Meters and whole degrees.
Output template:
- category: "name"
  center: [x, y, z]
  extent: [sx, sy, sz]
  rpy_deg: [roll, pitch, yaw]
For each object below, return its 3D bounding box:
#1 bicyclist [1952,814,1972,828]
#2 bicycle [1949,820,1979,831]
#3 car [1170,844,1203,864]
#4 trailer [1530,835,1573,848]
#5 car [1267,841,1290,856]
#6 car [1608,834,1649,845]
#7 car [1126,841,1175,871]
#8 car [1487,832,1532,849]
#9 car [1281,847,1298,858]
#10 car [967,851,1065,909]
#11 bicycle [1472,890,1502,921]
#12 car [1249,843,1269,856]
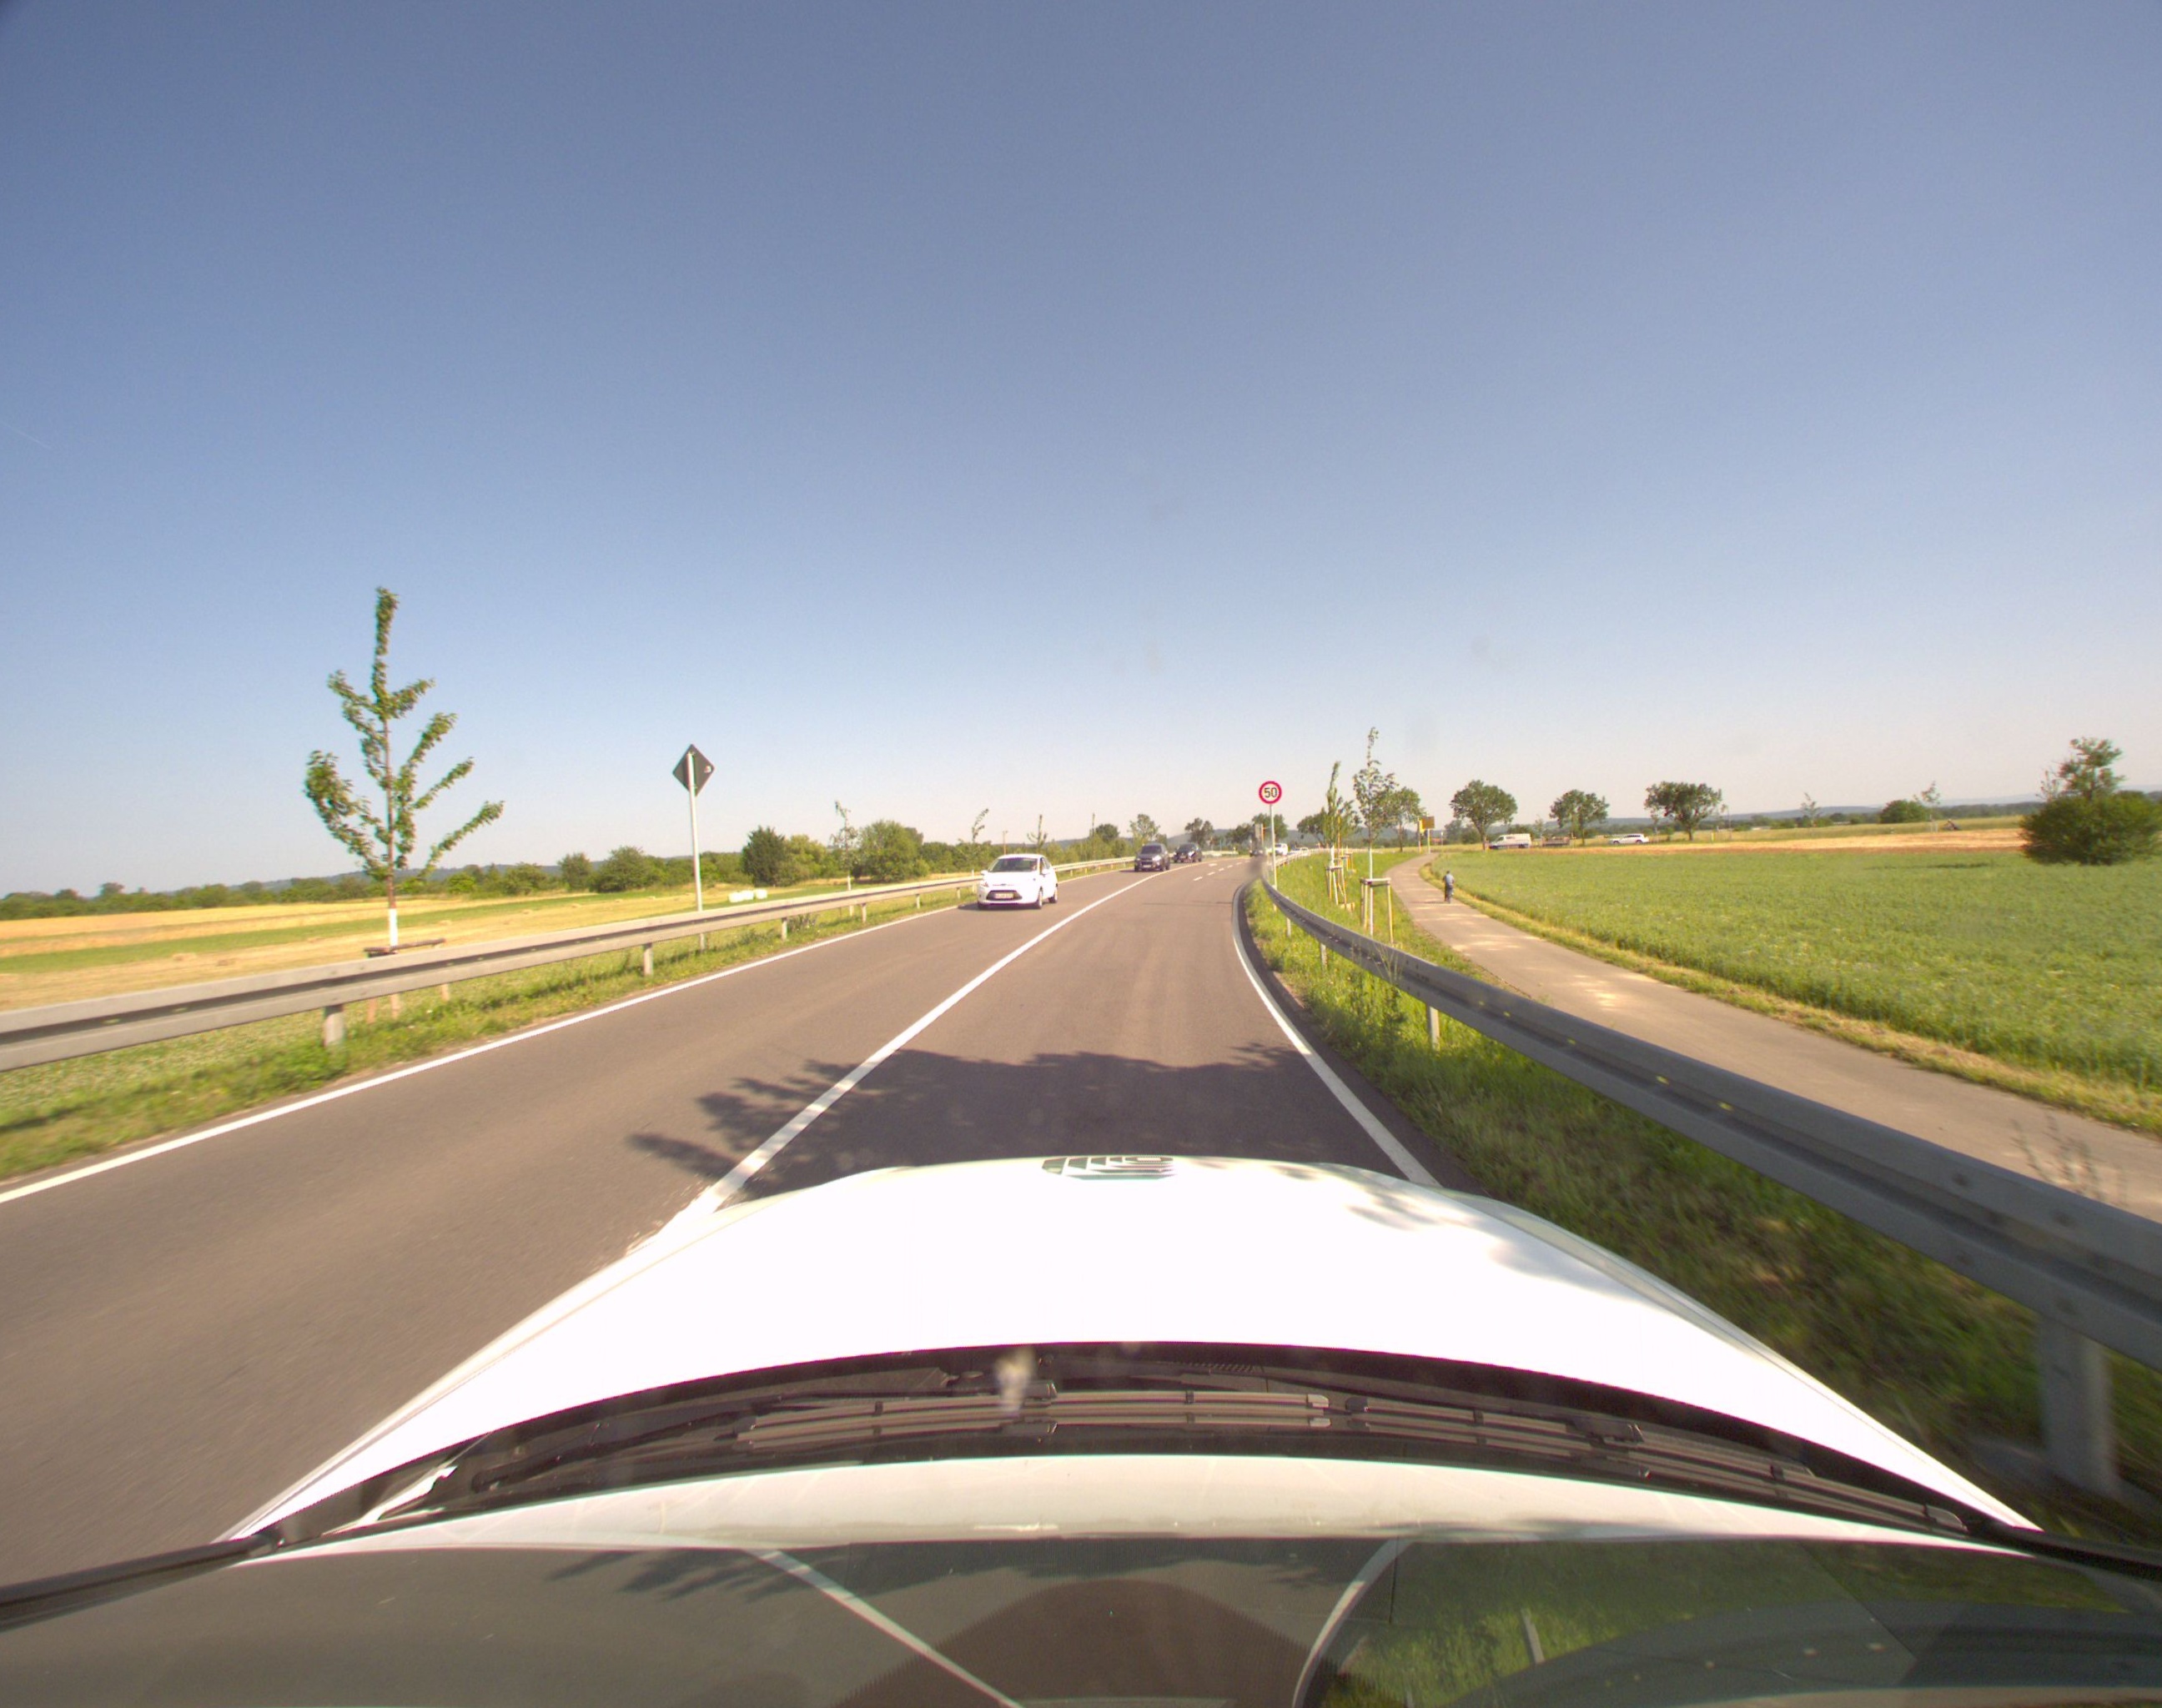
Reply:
- category: "bicyclist"
  center: [100.345, -3.750, 92.774]
  extent: [1.266, 1.601, 1.173]
  rpy_deg: [-2, 0, 32]
- category: "bicycle"
  center: [100.372, -3.244, 92.594]
  extent: [2.135, 1.186, 0.895]
  rpy_deg: [-2, -2, 32]
- category: "car"
  center: [9.216, -0.054, 70.769]
  extent: [1.977, 1.592, 4.886]
  rpy_deg: [-1, 1, 18]
- category: "trailer"
  center: [69.758, -1.829, 120.770]
  extent: [5.209, 1.753, 1.966]
  rpy_deg: [-3, -2, 35]
- category: "car"
  center: [29.435, -0.841, 121.313]
  extent: [2.095, 2.013, 5.186]
  rpy_deg: [0, 3, 27]
- category: "car"
  center: [77.779, -2.062, 115.767]
  extent: [4.821, 1.510, 2.013]
  rpy_deg: [-1, -1, 32]
- category: "car"
  center: [4.488, 0.166, 51.742]
  extent: [1.867, 1.798, 5.116]
  rpy_deg: [-1, -2, 20]
- category: "car"
  center: [65.183, -2.019, 123.889]
  extent: [5.899, 2.493, 2.013]
  rpy_deg: [-1, -1, 35]
- category: "car"
  center: [33.432, -0.195, 130.371]
  extent: [2.097, 1.492, 5.179]
  rpy_deg: [-1, 3, 19]
- category: "car"
  center: [-1.707, 0.683, 22.829]
  extent: [1.843, 1.449, 4.163]
  rpy_deg: [-1, 0, 8]
- category: "bicycle"
  center: [15.842, 1.991, 31.836]
  extent: [0.751, 1.034, 1.938]
  rpy_deg: [-2, 0, 18]
- category: "car"
  center: [23.745, -0.633, 108.492]
  extent: [1.779, 1.448, 4.732]
  rpy_deg: [-1, 3, 22]
